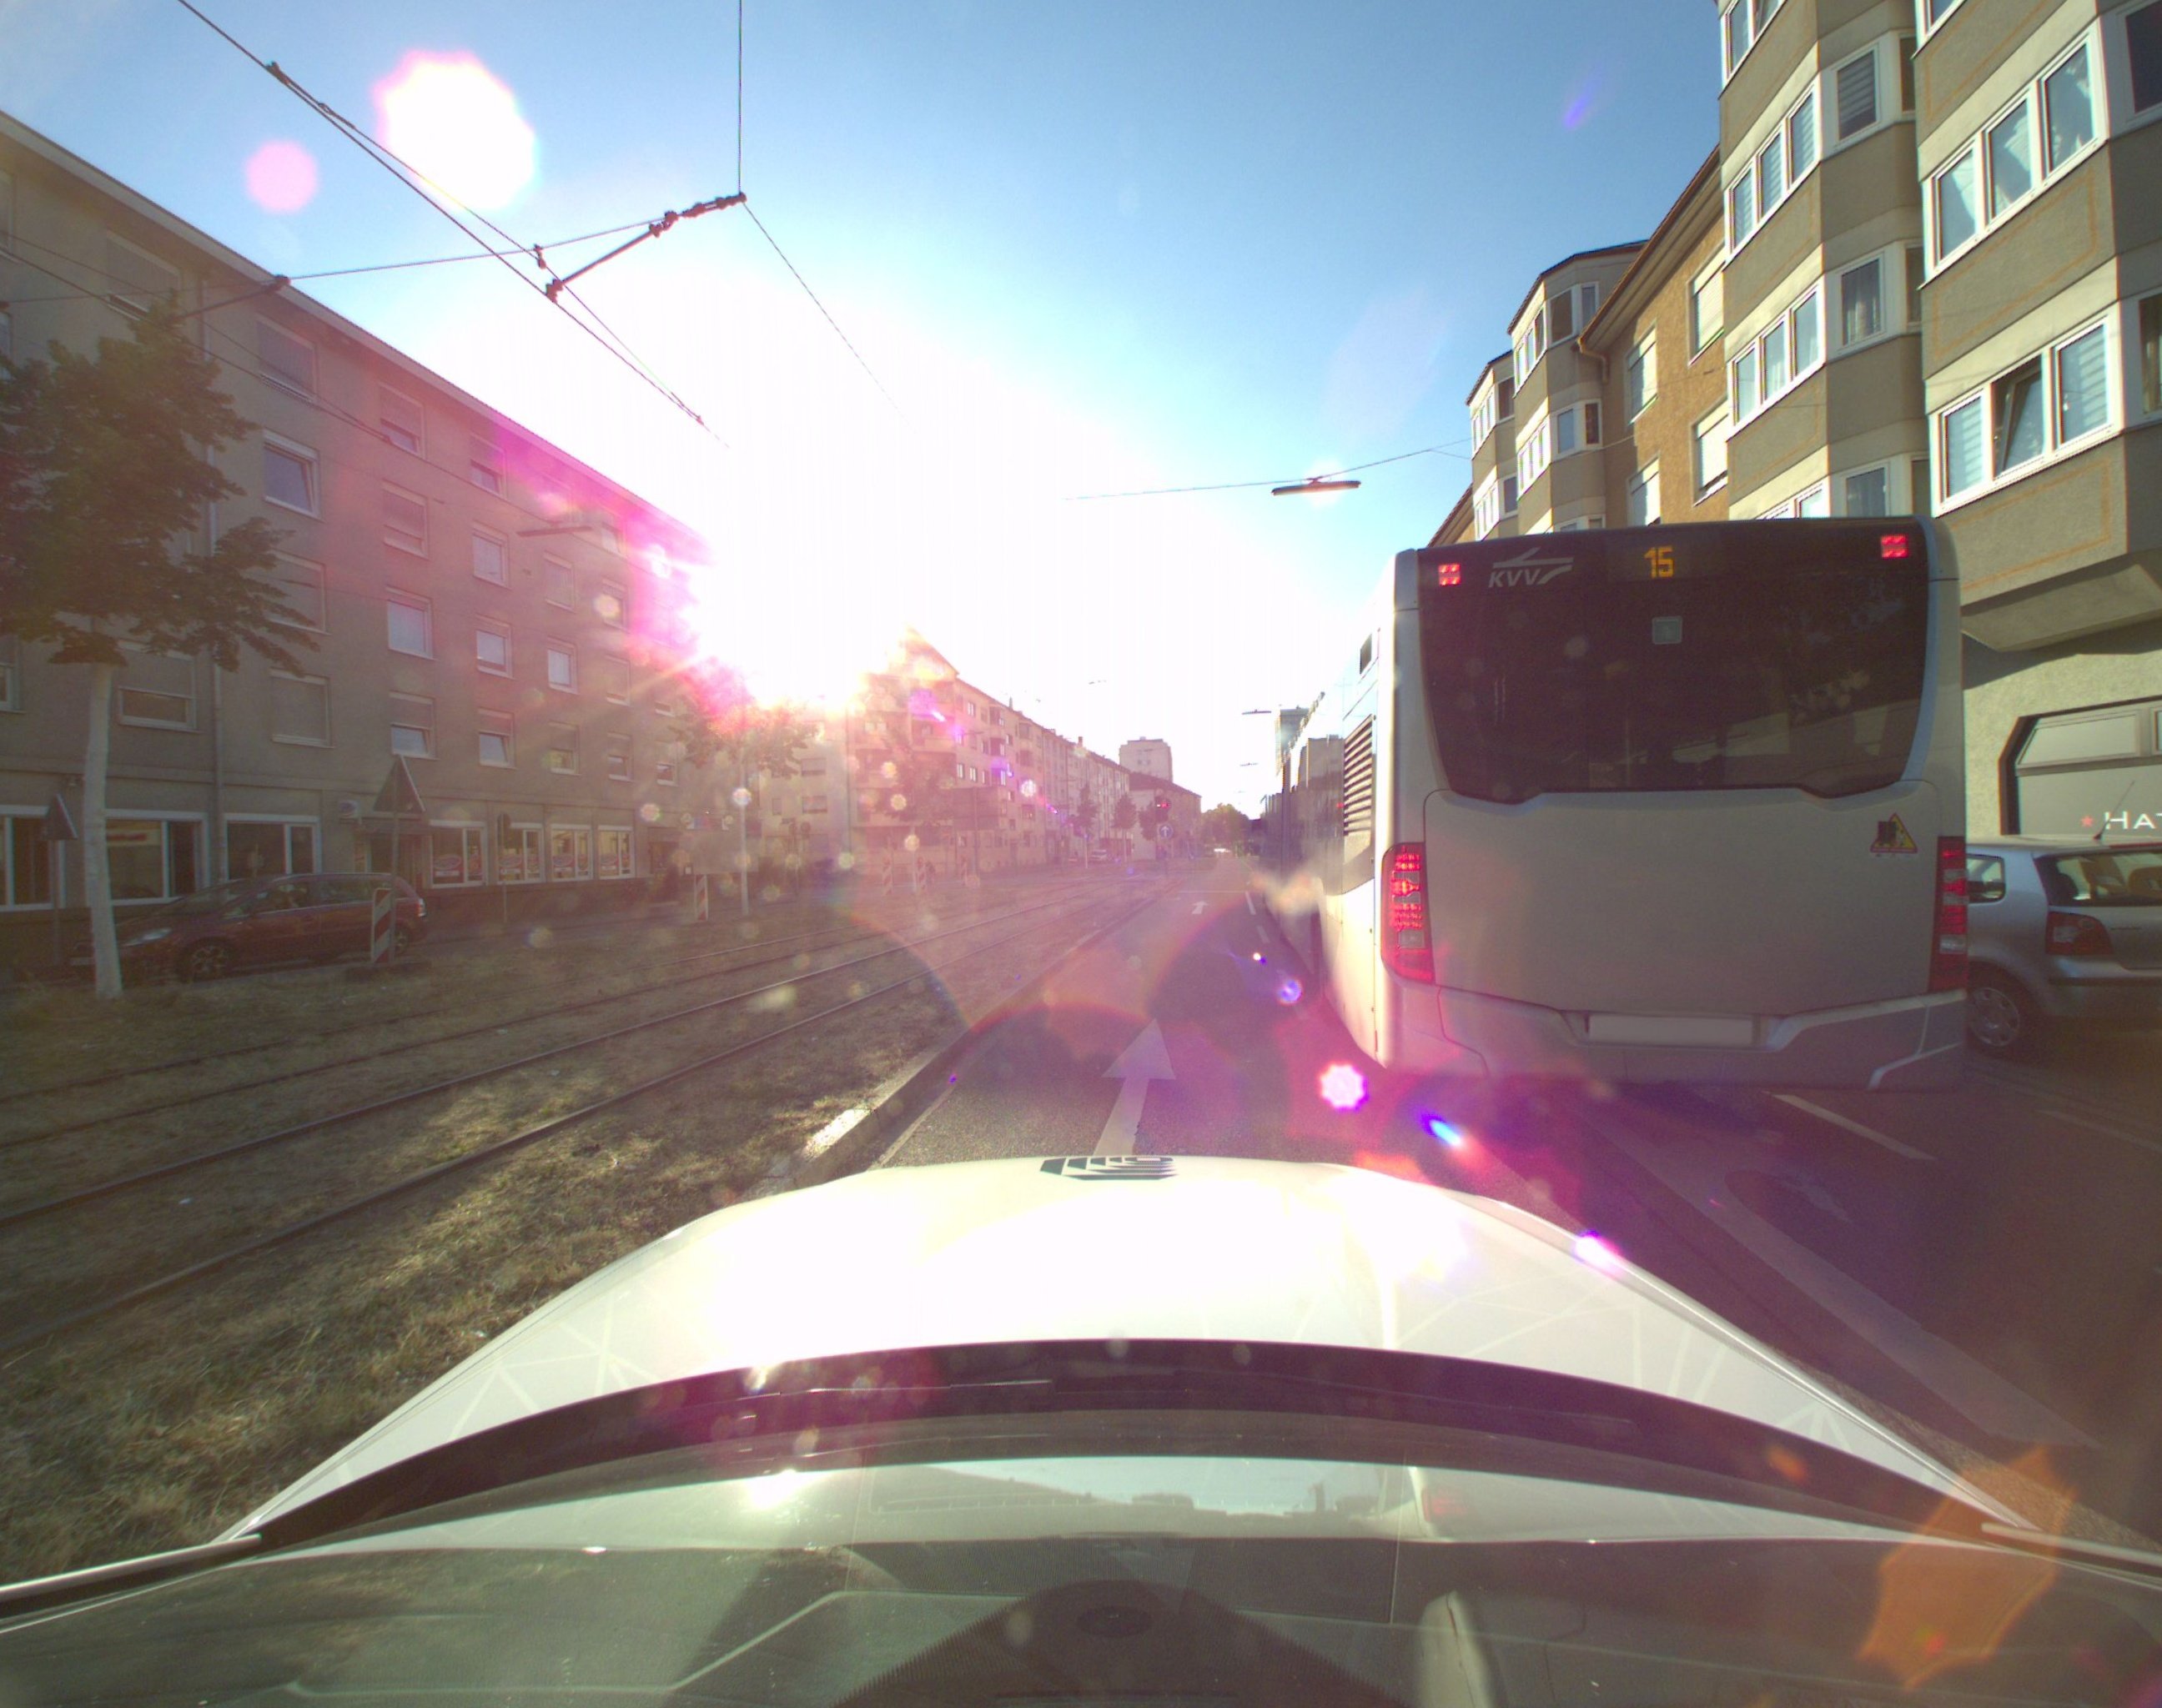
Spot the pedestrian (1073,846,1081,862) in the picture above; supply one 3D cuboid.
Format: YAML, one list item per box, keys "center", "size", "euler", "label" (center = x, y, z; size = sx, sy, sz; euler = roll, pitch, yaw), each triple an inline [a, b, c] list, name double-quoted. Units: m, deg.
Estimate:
- center: [-0.497, 0.003, 104.678]
  size: [0.782, 2.013, 0.892]
  euler: [-2, 0, 7]
  label: "pedestrian"

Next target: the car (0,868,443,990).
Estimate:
- center: [-13.884, 1.093, 13.751]
  size: [1.801, 1.560, 4.946]
  euler: [-3, -1, 9]
  label: "car"

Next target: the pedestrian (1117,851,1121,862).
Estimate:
- center: [5.766, 0.354, 124.853]
  size: [0.492, 1.658, 0.410]
  euler: [-2, 0, 11]
  label: "pedestrian"

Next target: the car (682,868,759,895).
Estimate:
- center: [-22.433, 1.678, 50.780]
  size: [3.945, 1.440, 1.790]
  euler: [-3, 0, 0]
  label: "car"

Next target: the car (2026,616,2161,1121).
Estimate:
- center: [5.987, 0.024, 1.619]
  size: [2.004, 2.551, 5.801]
  euler: [-5, -1, 10]
  label: "car"

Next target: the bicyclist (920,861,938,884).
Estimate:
- center: [-10.017, 1.231, 53.669]
  size: [0.522, 1.447, 0.971]
  euler: [-3, 0, 41]
  label: "bicyclist"

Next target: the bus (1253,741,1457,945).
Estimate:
- center: [5.115, -0.181, 16.947]
  size: [2.721, 3.055, 9.158]
  euler: [-1, 0, 10]
  label: "bus"

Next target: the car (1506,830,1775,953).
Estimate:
- center: [8.286, 0.480, 12.606]
  size: [1.827, 1.536, 4.242]
  euler: [-2, 0, 10]
  label: "car"

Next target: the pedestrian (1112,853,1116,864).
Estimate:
- center: [5.043, 0.719, 124.603]
  size: [0.492, 1.658, 0.410]
  euler: [-2, 0, 11]
  label: "pedestrian"

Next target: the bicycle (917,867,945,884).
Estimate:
- center: [-9.919, 1.421, 53.804]
  size: [0.522, 0.984, 1.895]
  euler: [-3, 0, 41]
  label: "bicycle"

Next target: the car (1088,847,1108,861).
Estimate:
- center: [2.296, 0.053, 109.055]
  size: [1.800, 1.798, 4.259]
  euler: [0, 0, 12]
  label: "car"

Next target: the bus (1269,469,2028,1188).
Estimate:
- center: [3.471, -0.124, 8.052]
  size: [2.721, 3.055, 8.879]
  euler: [-1, 0, 10]
  label: "bus"

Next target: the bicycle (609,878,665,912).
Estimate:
- center: [-15.778, 1.444, 28.964]
  size: [0.742, 1.115, 1.783]
  euler: [-2, 0, 10]
  label: "bicycle"

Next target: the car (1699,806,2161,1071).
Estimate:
- center: [7.188, 0.481, 6.682]
  size: [1.827, 1.588, 3.797]
  euler: [-2, 0, 10]
  label: "car"
